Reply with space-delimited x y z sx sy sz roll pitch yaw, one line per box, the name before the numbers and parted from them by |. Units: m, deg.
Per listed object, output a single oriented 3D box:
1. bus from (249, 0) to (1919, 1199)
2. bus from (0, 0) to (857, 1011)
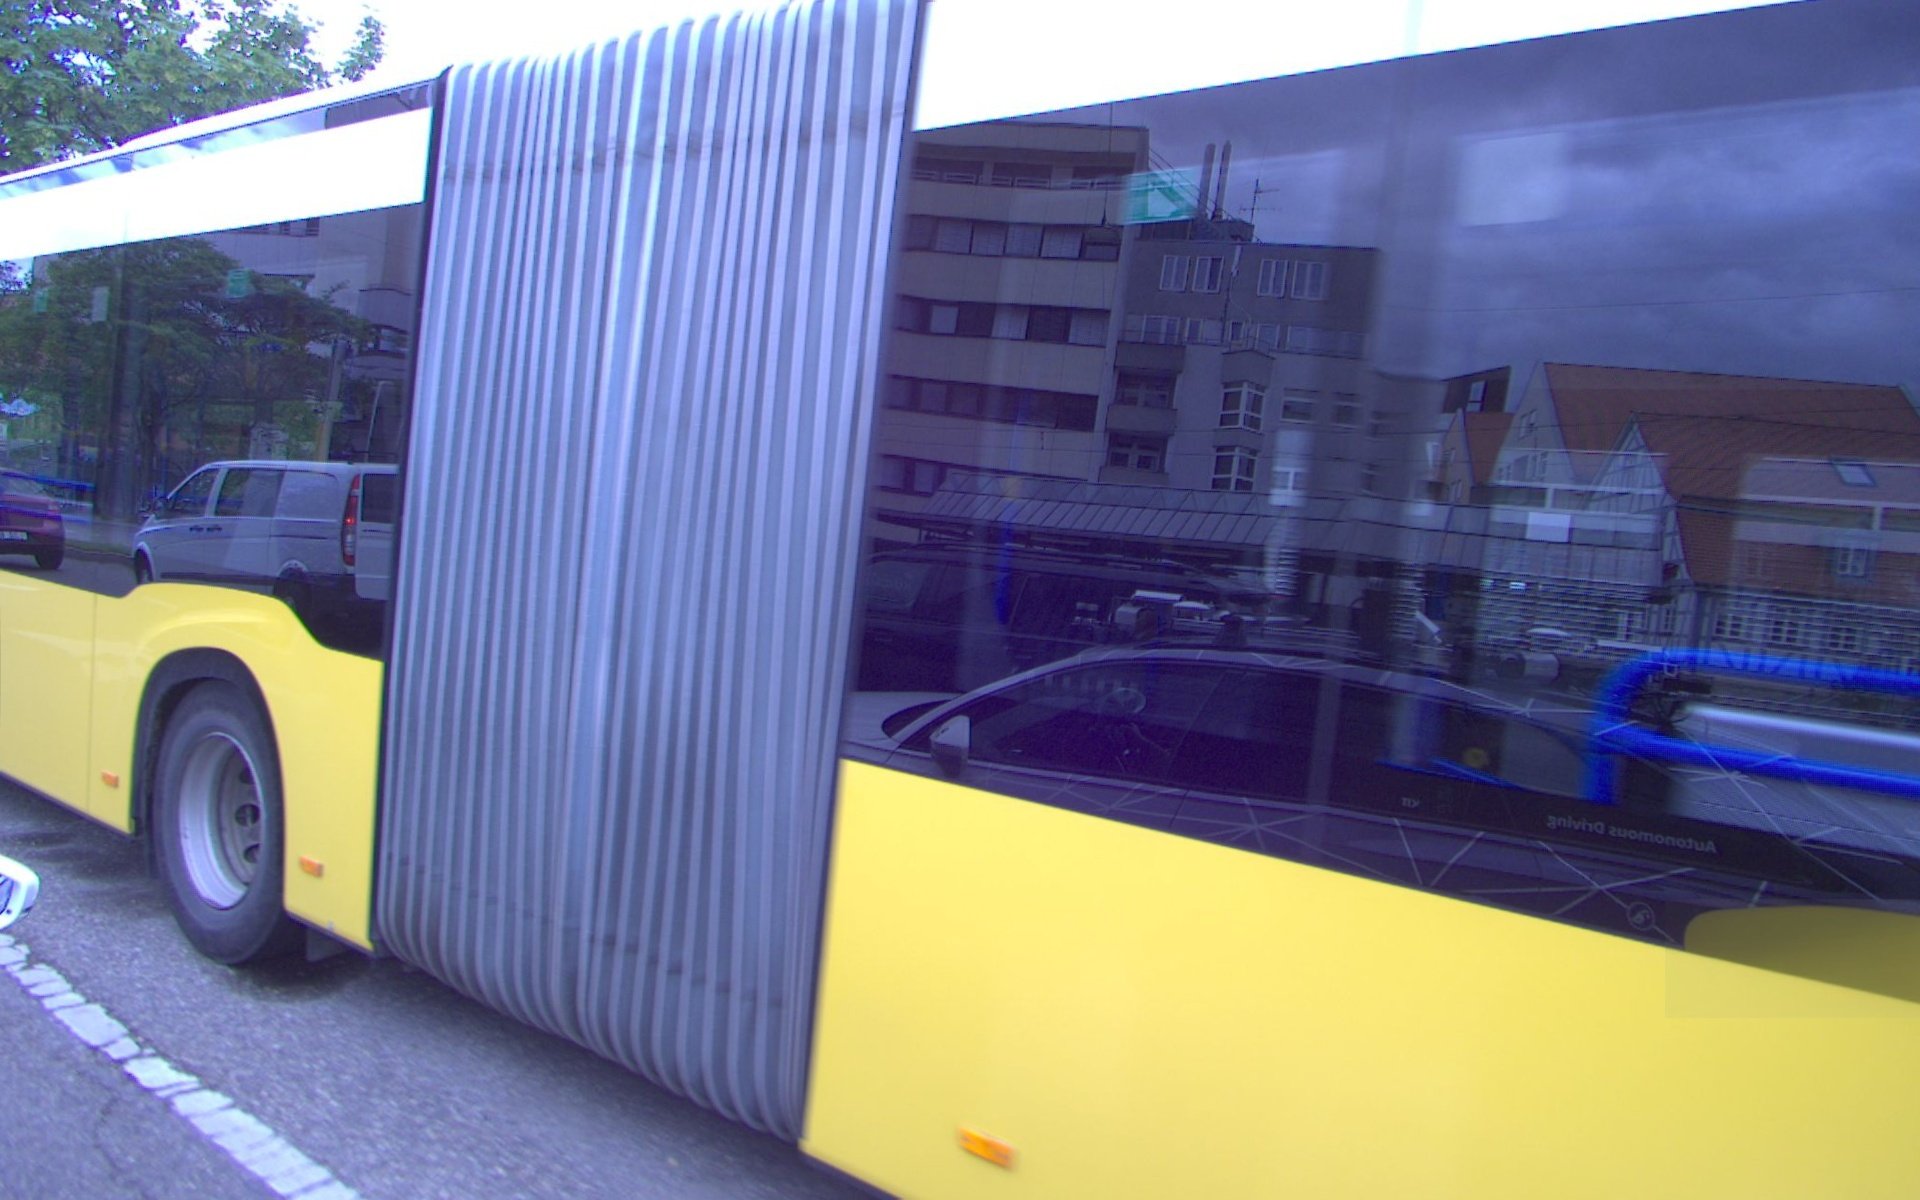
bus | 2.412 0.290 2.038 8.719 3.149 2.715 7 1 30
bus | -5.246 -0.767 6.417 8.971 3.205 2.715 7 2 29
